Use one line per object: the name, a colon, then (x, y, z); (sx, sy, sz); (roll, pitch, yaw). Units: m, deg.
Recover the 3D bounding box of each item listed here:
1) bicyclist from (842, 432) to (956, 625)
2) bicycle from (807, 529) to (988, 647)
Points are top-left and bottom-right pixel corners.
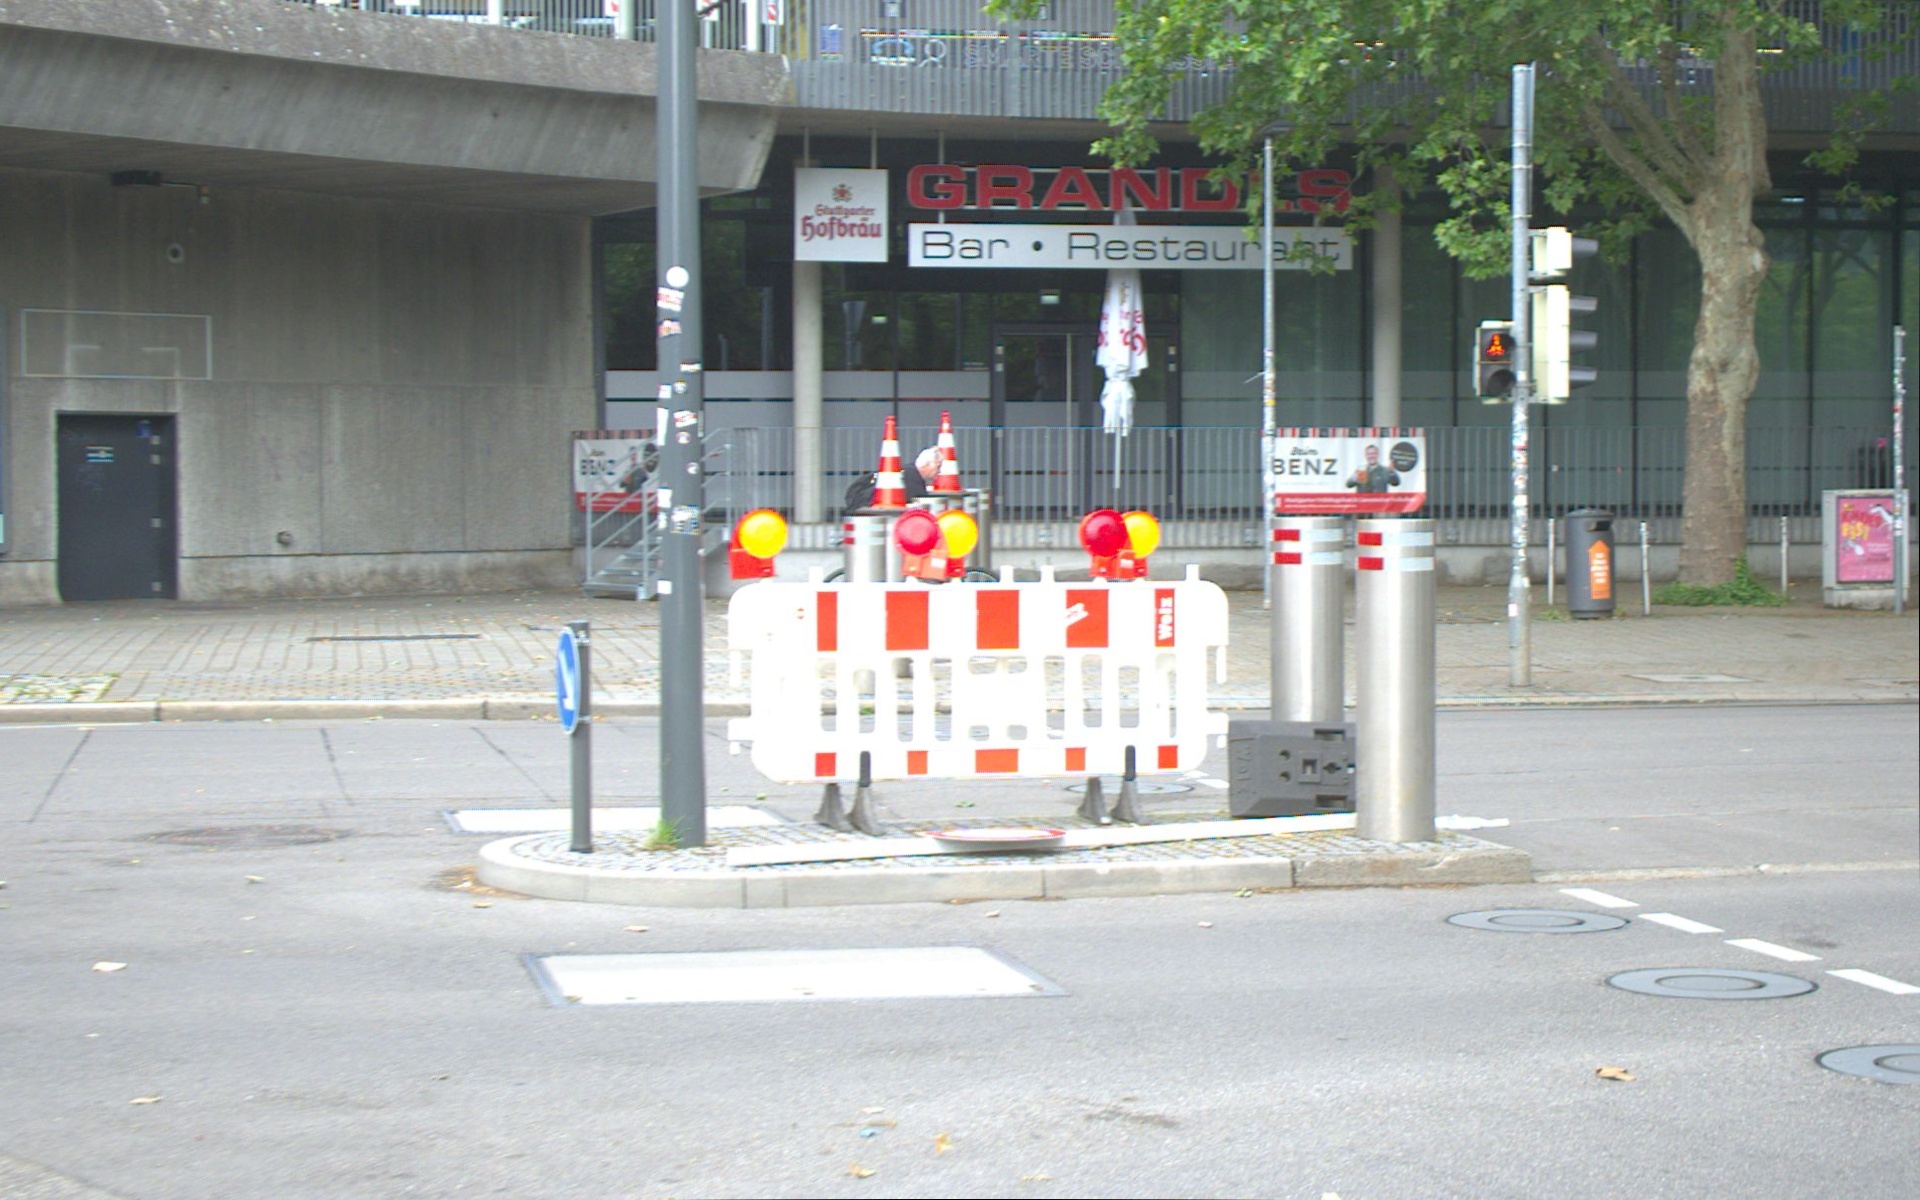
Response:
bicyclist: (-0.552, -0.638, 30.764); (0.851, 1.692, 0.767); (1, 1, -11)
bicycle: (-0.561, -0.108, 30.766); (1.532, 1.009, 0.517); (1, 1, -11)
